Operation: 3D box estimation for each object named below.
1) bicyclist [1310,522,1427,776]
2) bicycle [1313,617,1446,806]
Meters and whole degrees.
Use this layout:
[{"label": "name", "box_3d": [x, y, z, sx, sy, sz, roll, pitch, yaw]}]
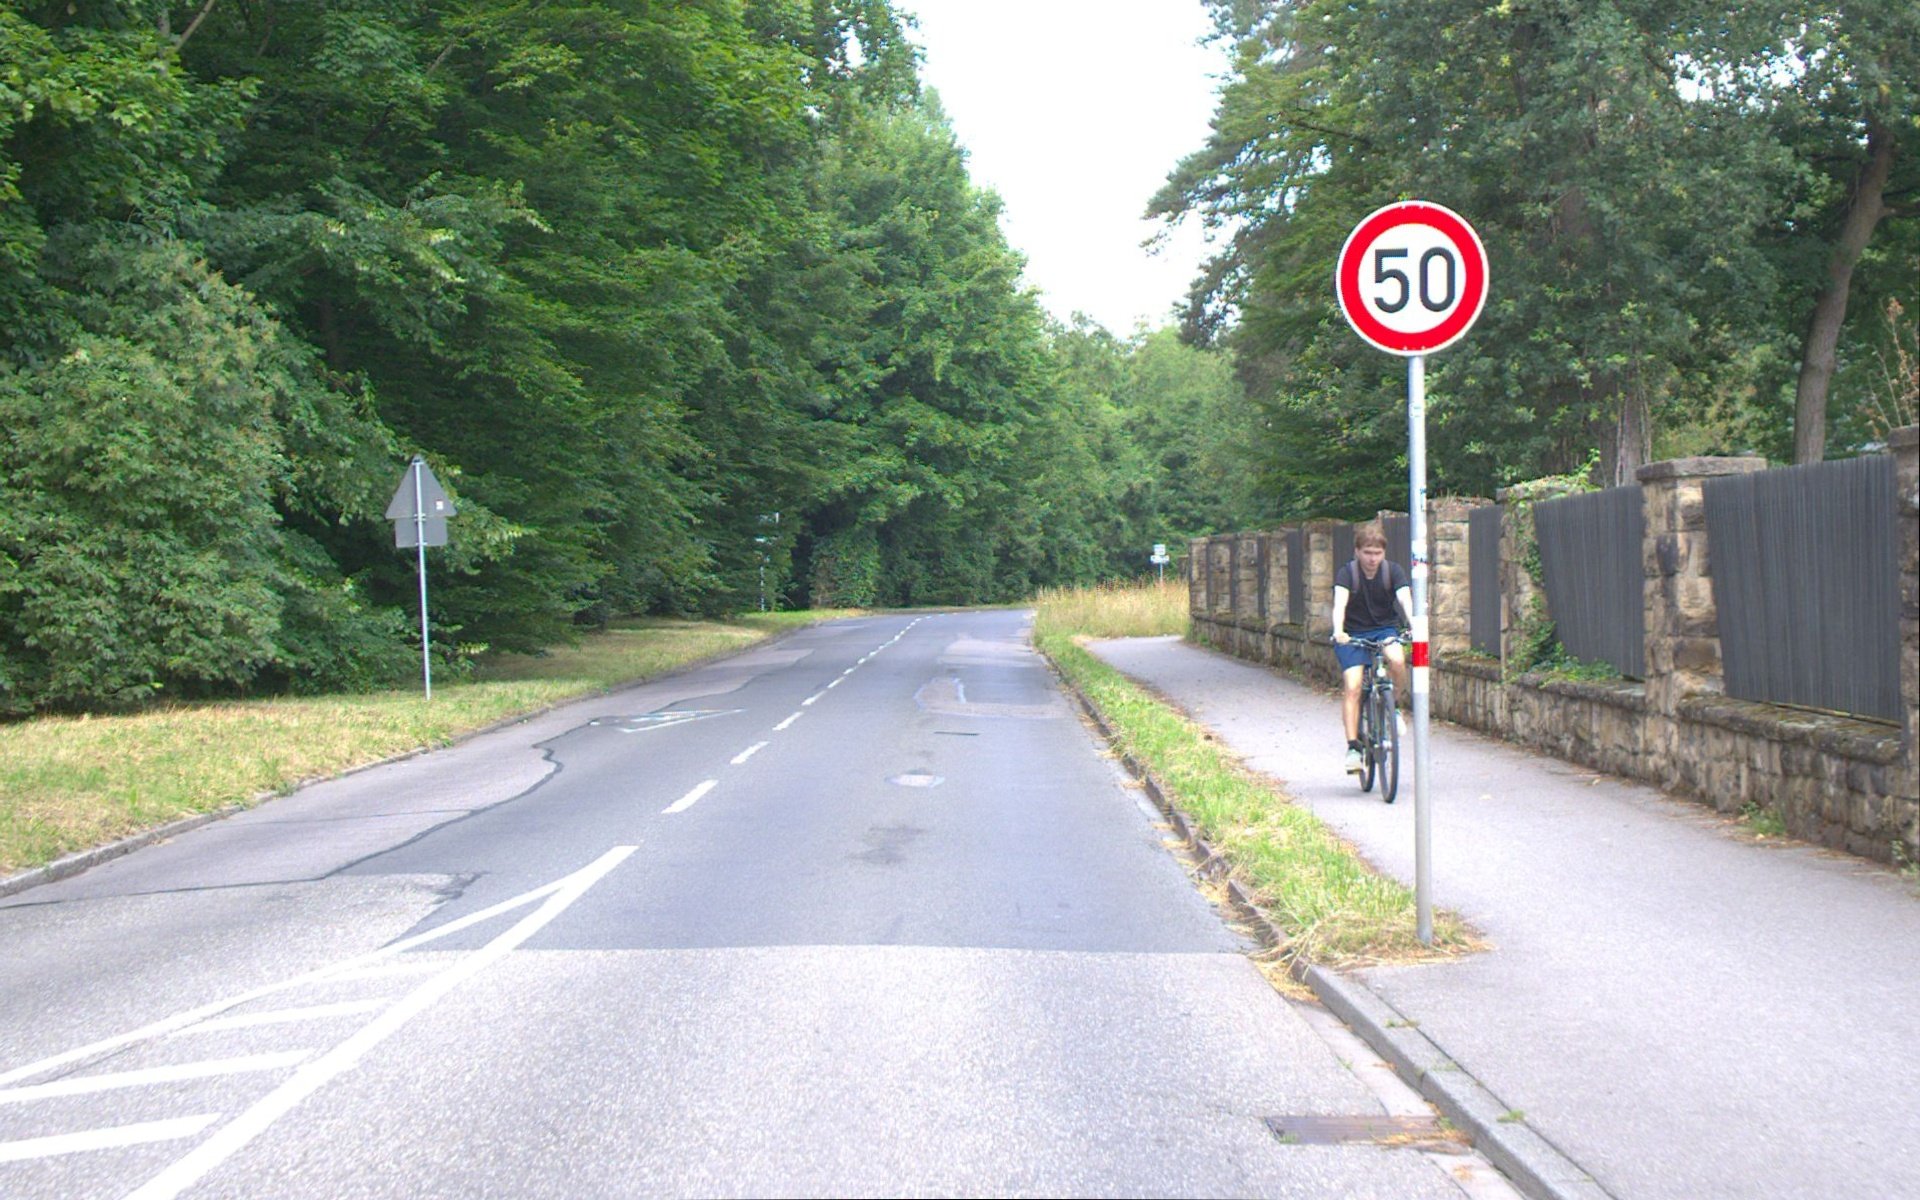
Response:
[{"label": "bicyclist", "box_3d": [2.640, 0.298, 22.287, 0.569, 1.582, 1.206, -2, 1, 0]}, {"label": "bicycle", "box_3d": [2.661, 0.685, 21.973, 0.558, 1.069, 2.157, -2, 1, 0]}]
